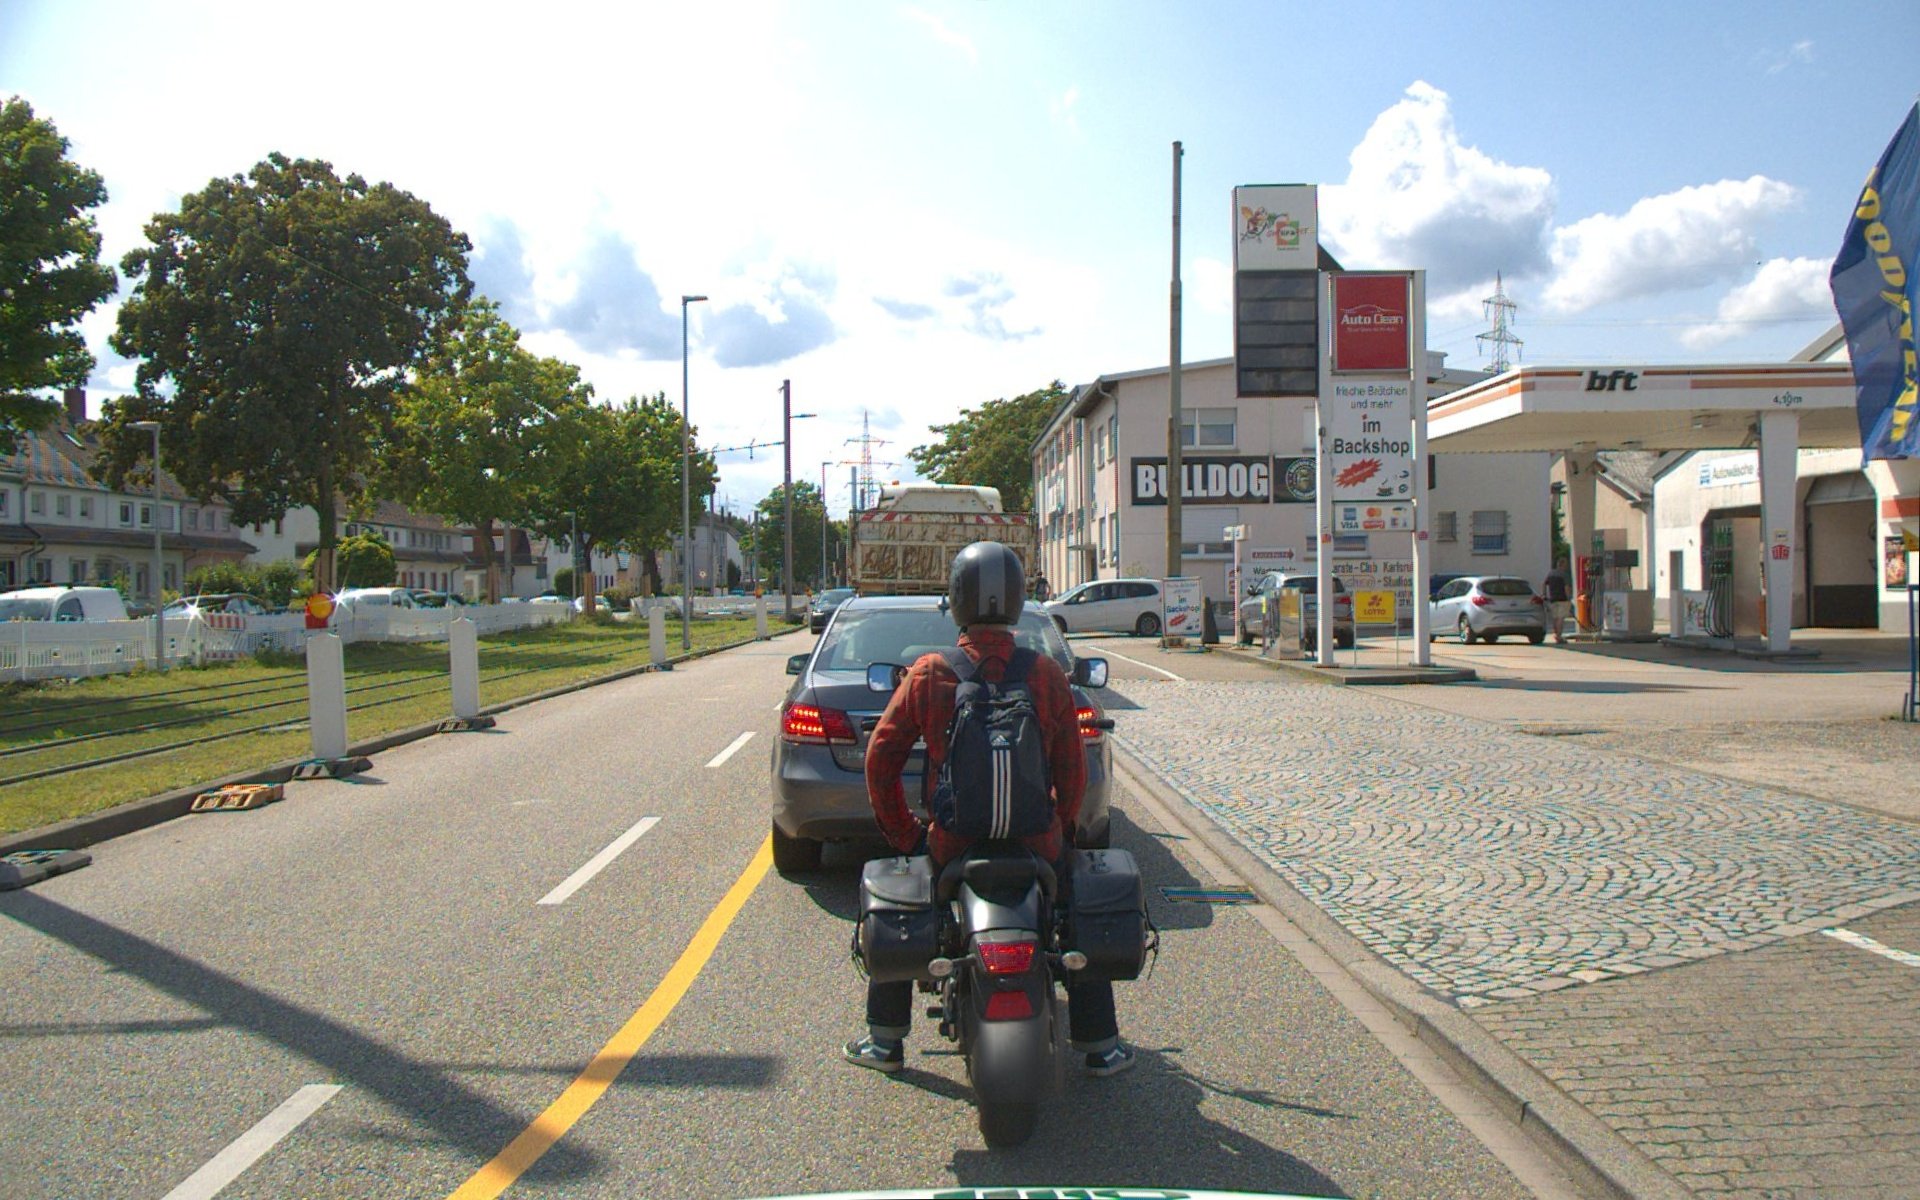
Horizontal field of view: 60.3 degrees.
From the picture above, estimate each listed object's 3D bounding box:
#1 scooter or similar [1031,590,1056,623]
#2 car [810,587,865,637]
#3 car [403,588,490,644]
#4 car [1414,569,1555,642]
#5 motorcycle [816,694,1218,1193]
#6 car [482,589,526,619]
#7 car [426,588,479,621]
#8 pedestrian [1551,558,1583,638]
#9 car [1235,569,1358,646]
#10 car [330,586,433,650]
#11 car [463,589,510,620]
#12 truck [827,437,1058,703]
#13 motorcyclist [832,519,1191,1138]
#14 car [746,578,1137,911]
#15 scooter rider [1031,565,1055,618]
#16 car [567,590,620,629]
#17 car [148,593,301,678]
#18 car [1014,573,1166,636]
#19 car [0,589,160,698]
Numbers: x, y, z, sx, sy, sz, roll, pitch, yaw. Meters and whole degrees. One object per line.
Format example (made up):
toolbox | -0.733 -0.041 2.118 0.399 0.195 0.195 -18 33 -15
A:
scooter or similar | 2.980 0.220 59.036 0.779 1.165 1.519 -1 0 -1
car | -4.203 0.380 57.157 1.646 1.652 4.118 -1 0 -1
car | -17.019 0.495 54.976 1.664 1.770 3.860 -1 0 -1
car | 11.773 0.102 37.417 1.795 1.505 4.008 -1 0 -2
motorcycle | 0.120 0.897 5.190 0.956 1.031 2.431 1 0 -1
car | -28.667 0.229 104.142 1.664 1.770 4.061 -1 0 -1
car | -28.183 0.243 91.930 1.664 1.770 4.061 -1 0 -1
pedestrian | 13.136 -0.048 35.788 0.621 1.712 0.622 -1 0 20
car | 7.403 0.141 36.751 1.795 1.562 4.008 -1 0 -2
car | -16.954 0.492 48.610 1.664 1.770 3.860 -1 0 -1
car | -28.064 0.258 98.140 1.664 1.770 4.061 -1 0 -1
truck | -0.354 -0.424 25.465 2.910 3.362 8.404 -1 0 -2
motorcyclist | 0.132 0.615 5.072 0.950 1.662 1.214 1 0 -1
car | -0.146 0.653 9.718 1.795 1.505 4.008 -1 0 -2
scooter rider | 2.972 -0.303 59.031 0.779 1.850 0.508 -1 0 -1
car | -17.415 0.410 78.813 1.664 1.770 3.860 -1 0 -1
car | -16.672 0.755 37.713 1.664 1.770 4.053 -1 0 -1
car | 3.671 0.117 47.080 4.029 1.652 1.682 -1 0 -9
car | -16.416 0.741 30.289 1.664 1.849 3.860 -1 0 -1
